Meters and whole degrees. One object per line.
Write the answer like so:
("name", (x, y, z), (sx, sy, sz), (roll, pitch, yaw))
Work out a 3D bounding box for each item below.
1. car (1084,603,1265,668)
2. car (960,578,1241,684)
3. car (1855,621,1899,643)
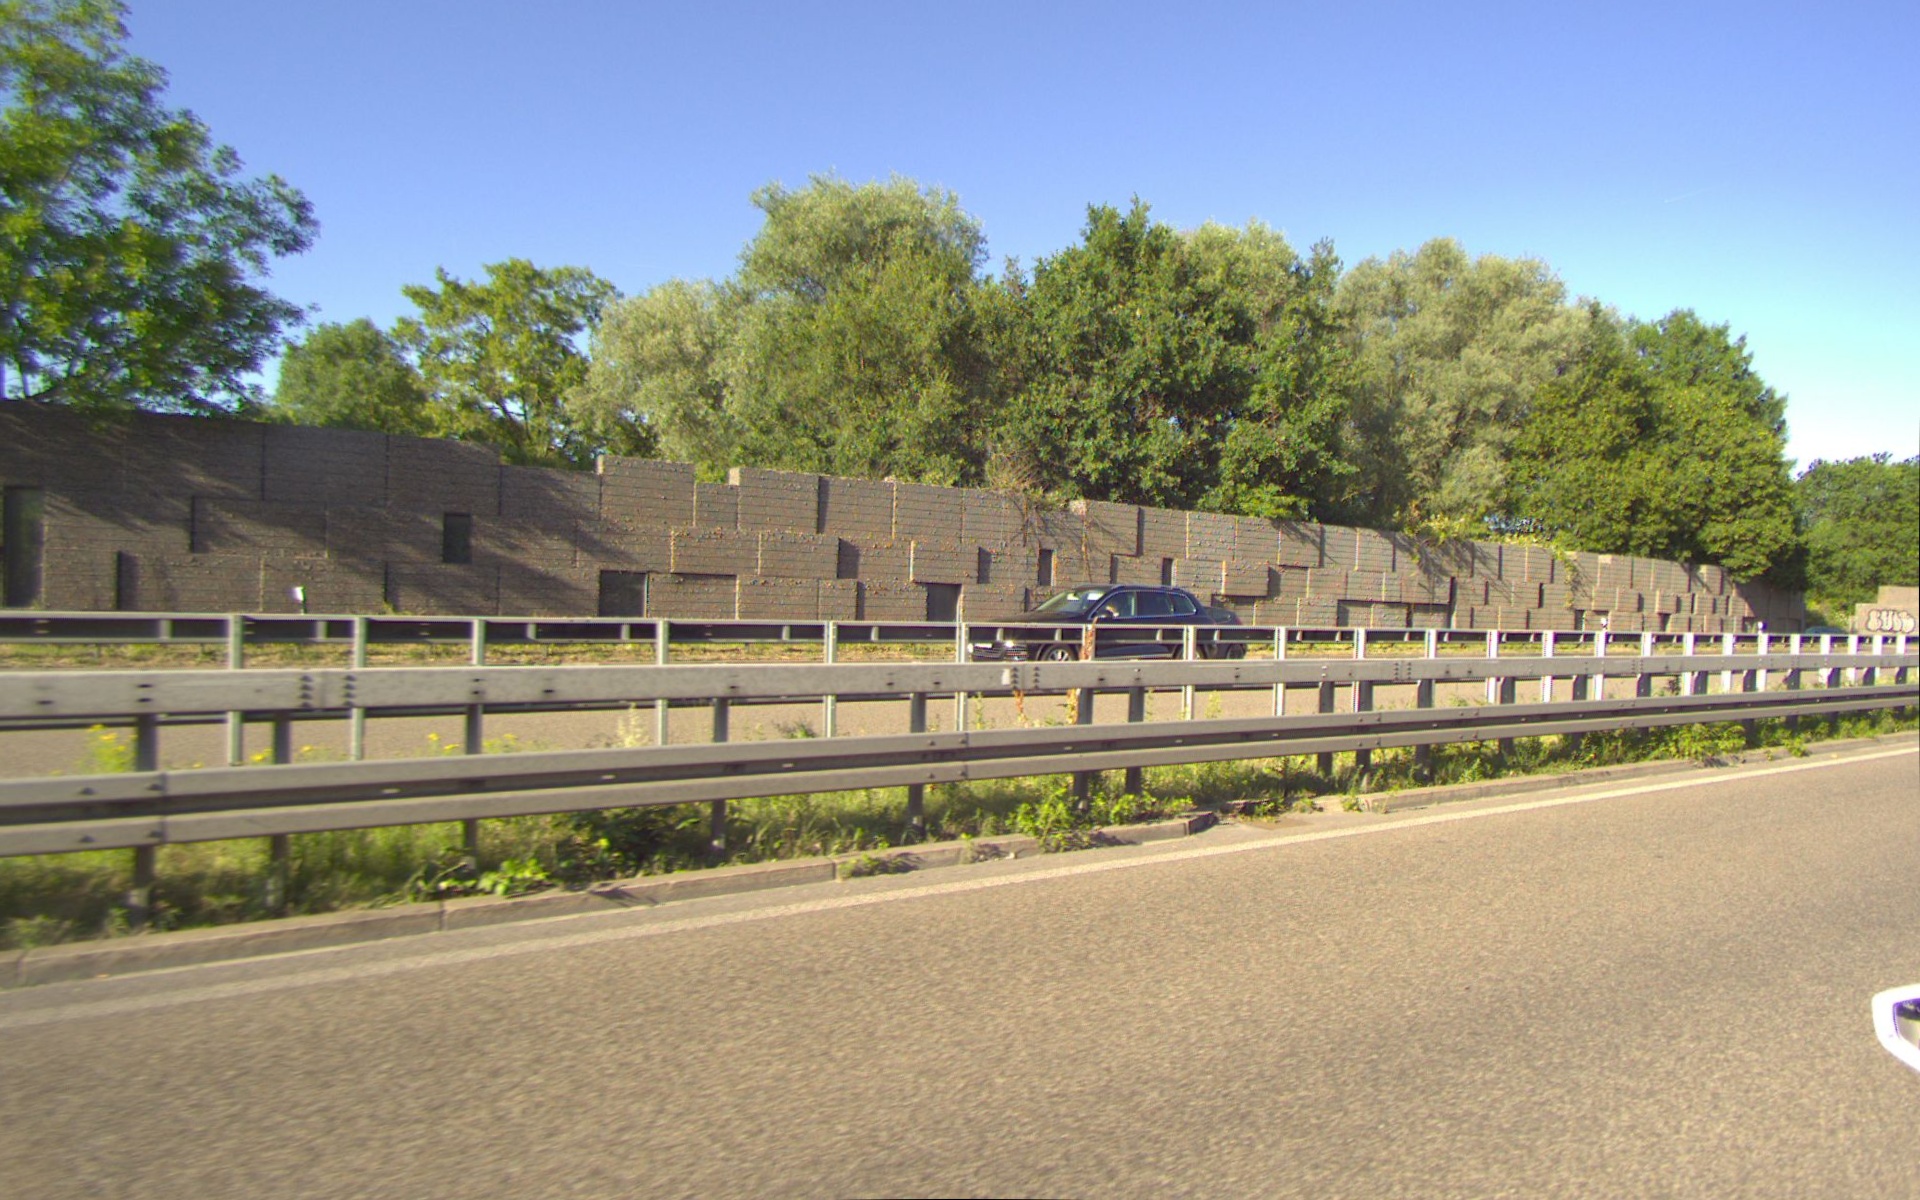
("car", (5.181, 0.817, 24.153), (4.086, 1.440, 1.888), (1, -1, -30))
("car", (2.539, 0.499, 17.782), (4.751, 1.595, 1.888), (1, 3, -30))
("car", (67.866, 2.322, 74.329), (3.999, 1.406, 1.975), (0, 3, -42))
